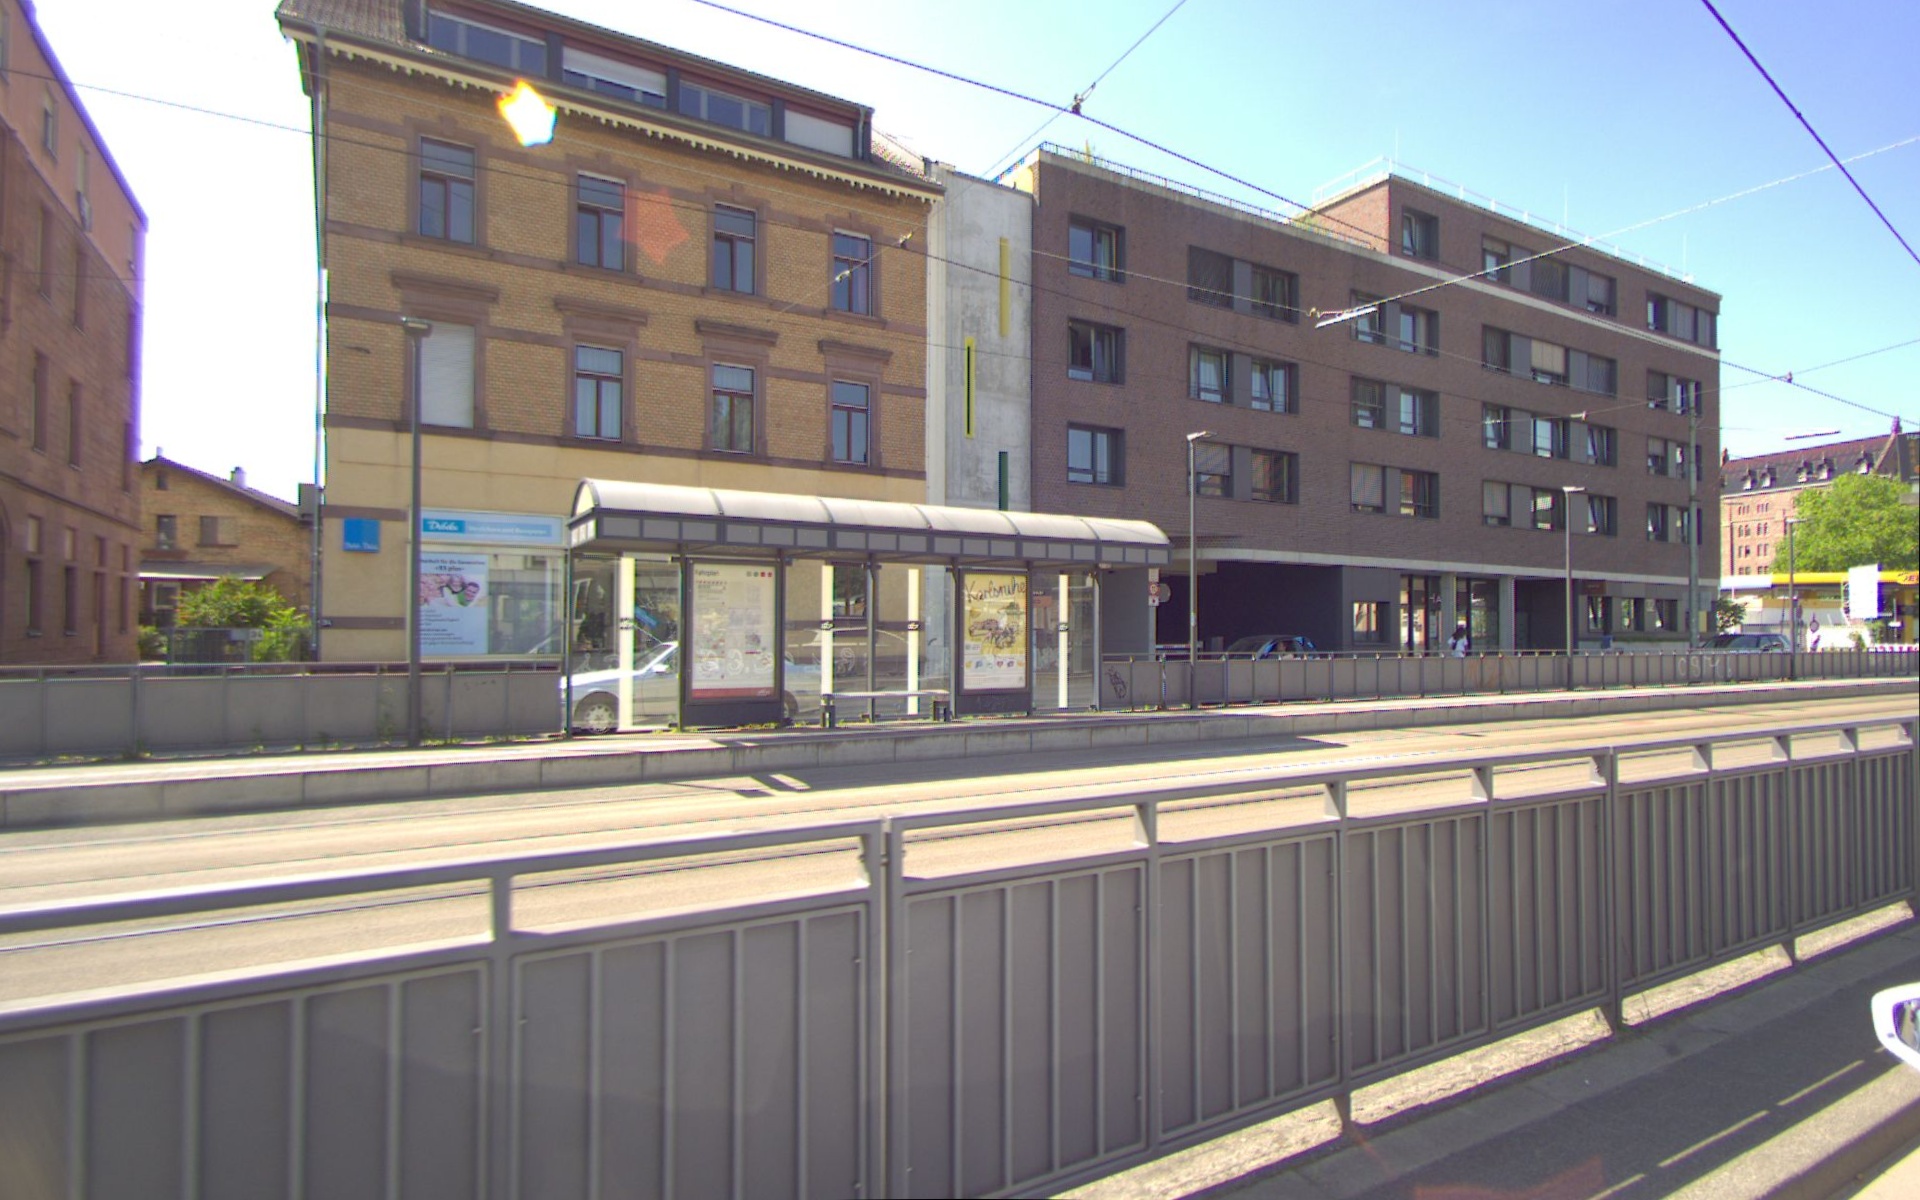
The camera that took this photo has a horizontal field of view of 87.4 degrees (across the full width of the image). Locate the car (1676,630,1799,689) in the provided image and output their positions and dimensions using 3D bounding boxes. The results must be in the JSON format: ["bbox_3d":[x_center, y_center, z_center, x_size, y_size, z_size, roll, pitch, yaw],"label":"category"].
[{"bbox_3d":[25.531,1.905,32.968,4.140,1.752,1.792,1,0,-30],"label":"car"}]

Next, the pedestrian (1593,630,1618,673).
[{"bbox_3d":[25.332,2.016,39.426,0.692,1.686,0.578,1,-2,-32],"label":"pedestrian"}]

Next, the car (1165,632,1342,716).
[{"bbox_3d":[6.344,1.528,21.670,3.537,1.644,1.704,1,-1,-31],"label":"car"}]

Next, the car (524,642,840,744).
[{"bbox_3d":[-4.249,1.350,15.608,4.470,1.381,1.623,2,-2,-31],"label":"car"}]

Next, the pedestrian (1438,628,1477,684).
[{"bbox_3d":[16.634,1.864,33.588,0.829,1.843,0.840,1,-1,-30],"label":"pedestrian"}]
